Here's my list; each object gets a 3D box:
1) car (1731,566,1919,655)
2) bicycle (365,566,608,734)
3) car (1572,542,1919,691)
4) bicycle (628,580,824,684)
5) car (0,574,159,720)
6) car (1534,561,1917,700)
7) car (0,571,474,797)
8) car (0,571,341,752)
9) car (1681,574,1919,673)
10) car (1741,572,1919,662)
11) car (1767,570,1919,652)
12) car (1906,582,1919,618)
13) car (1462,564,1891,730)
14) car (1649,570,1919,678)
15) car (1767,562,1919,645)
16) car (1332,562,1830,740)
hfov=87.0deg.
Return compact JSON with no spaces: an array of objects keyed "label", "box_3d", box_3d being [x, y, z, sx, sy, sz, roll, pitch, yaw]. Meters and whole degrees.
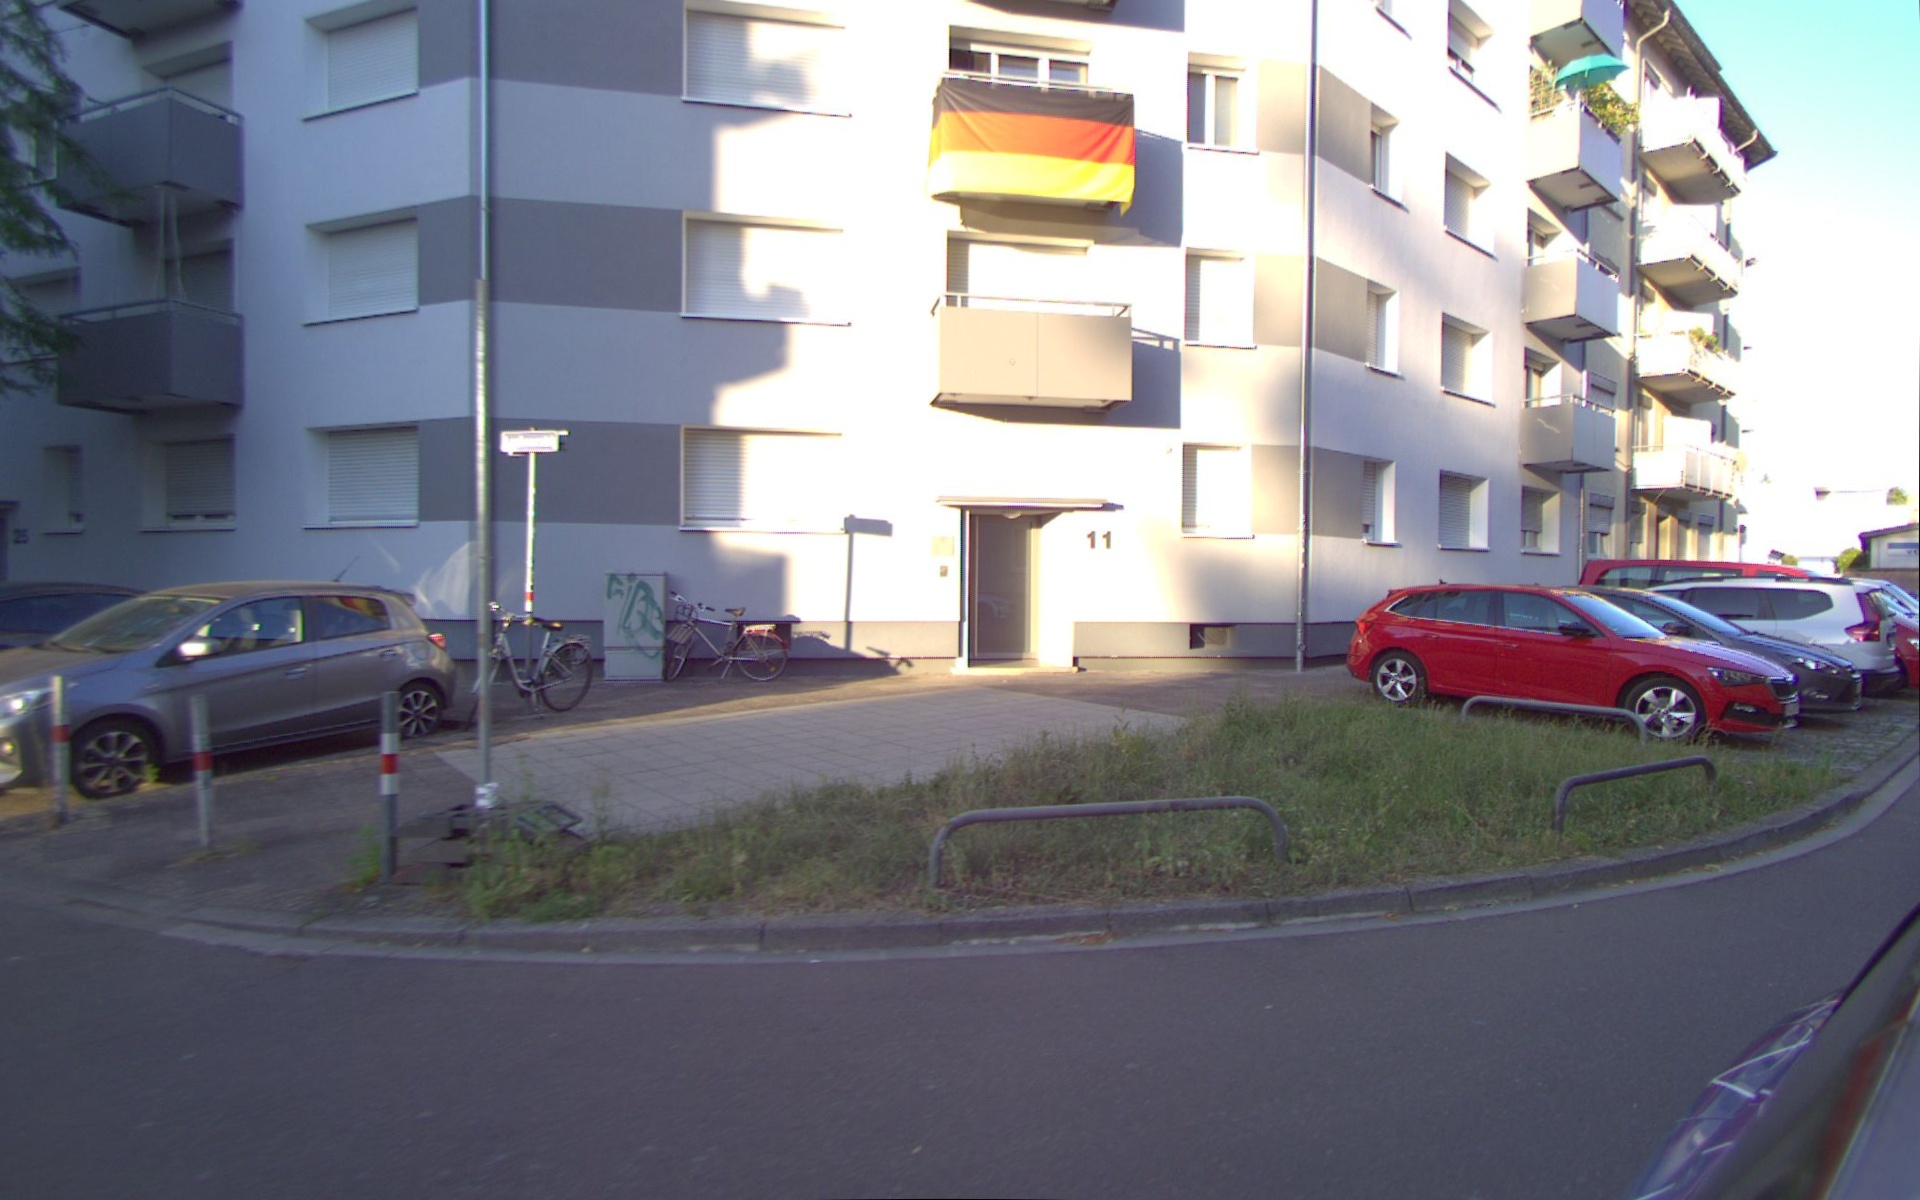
[{"label":"car","box_3d":[19.982,0.187,22.642,1.964,1.861,3.996,0,1,-39]},{"label":"bicycle","box_3d":[-4.396,0.396,9.675,0.510,1.401,2.489,0,1,19]},{"label":"car","box_3d":[12.579,0.181,15.924,1.964,2.025,4.684,0,1,-39]},{"label":"bicycle","box_3d":[-2.997,0.387,13.119,2.403,1.289,0.699,0,0,-10]},{"label":"car","box_3d":[-10.889,0.479,10.222,1.978,1.482,3.969,1,1,23]},{"label":"car","box_3d":[10.444,0.312,14.023,1.755,1.649,3.992,-1,1,-43]},{"label":"car","box_3d":[-6.373,0.490,8.367,1.977,1.438,3.970,1,1,23]},{"label":"car","box_3d":[-8.445,0.481,9.733,1.827,1.504,3.969,1,1,23]},{"label":"car","box_3d":[16.419,0.368,19.291,1.964,1.705,3.996,0,1,-39]},{"label":"car","box_3d":[18.632,0.302,20.576,1.963,1.705,3.998,0,1,-37]},{"label":"car","box_3d":[21.707,0.221,23.780,1.964,1.816,3.996,0,1,-39]},{"label":"car","box_3d":[42.418,-0.001,43.582,1.989,1.508,4.372,1,1,37]},{"label":"car","box_3d":[8.638,0.430,12.448,1.966,1.682,3.992,-1,1,-42]},{"label":"car","box_3d":[14.591,0.331,17.490,1.961,1.660,4.002,0,1,-34]},{"label":"car","box_3d":[23.276,0.066,25.372,1.963,1.992,4.429,0,1,-38]},{"label":"car","box_3d":[6.575,0.397,11.155,1.889,1.560,4.310,0,1,-39]}]
